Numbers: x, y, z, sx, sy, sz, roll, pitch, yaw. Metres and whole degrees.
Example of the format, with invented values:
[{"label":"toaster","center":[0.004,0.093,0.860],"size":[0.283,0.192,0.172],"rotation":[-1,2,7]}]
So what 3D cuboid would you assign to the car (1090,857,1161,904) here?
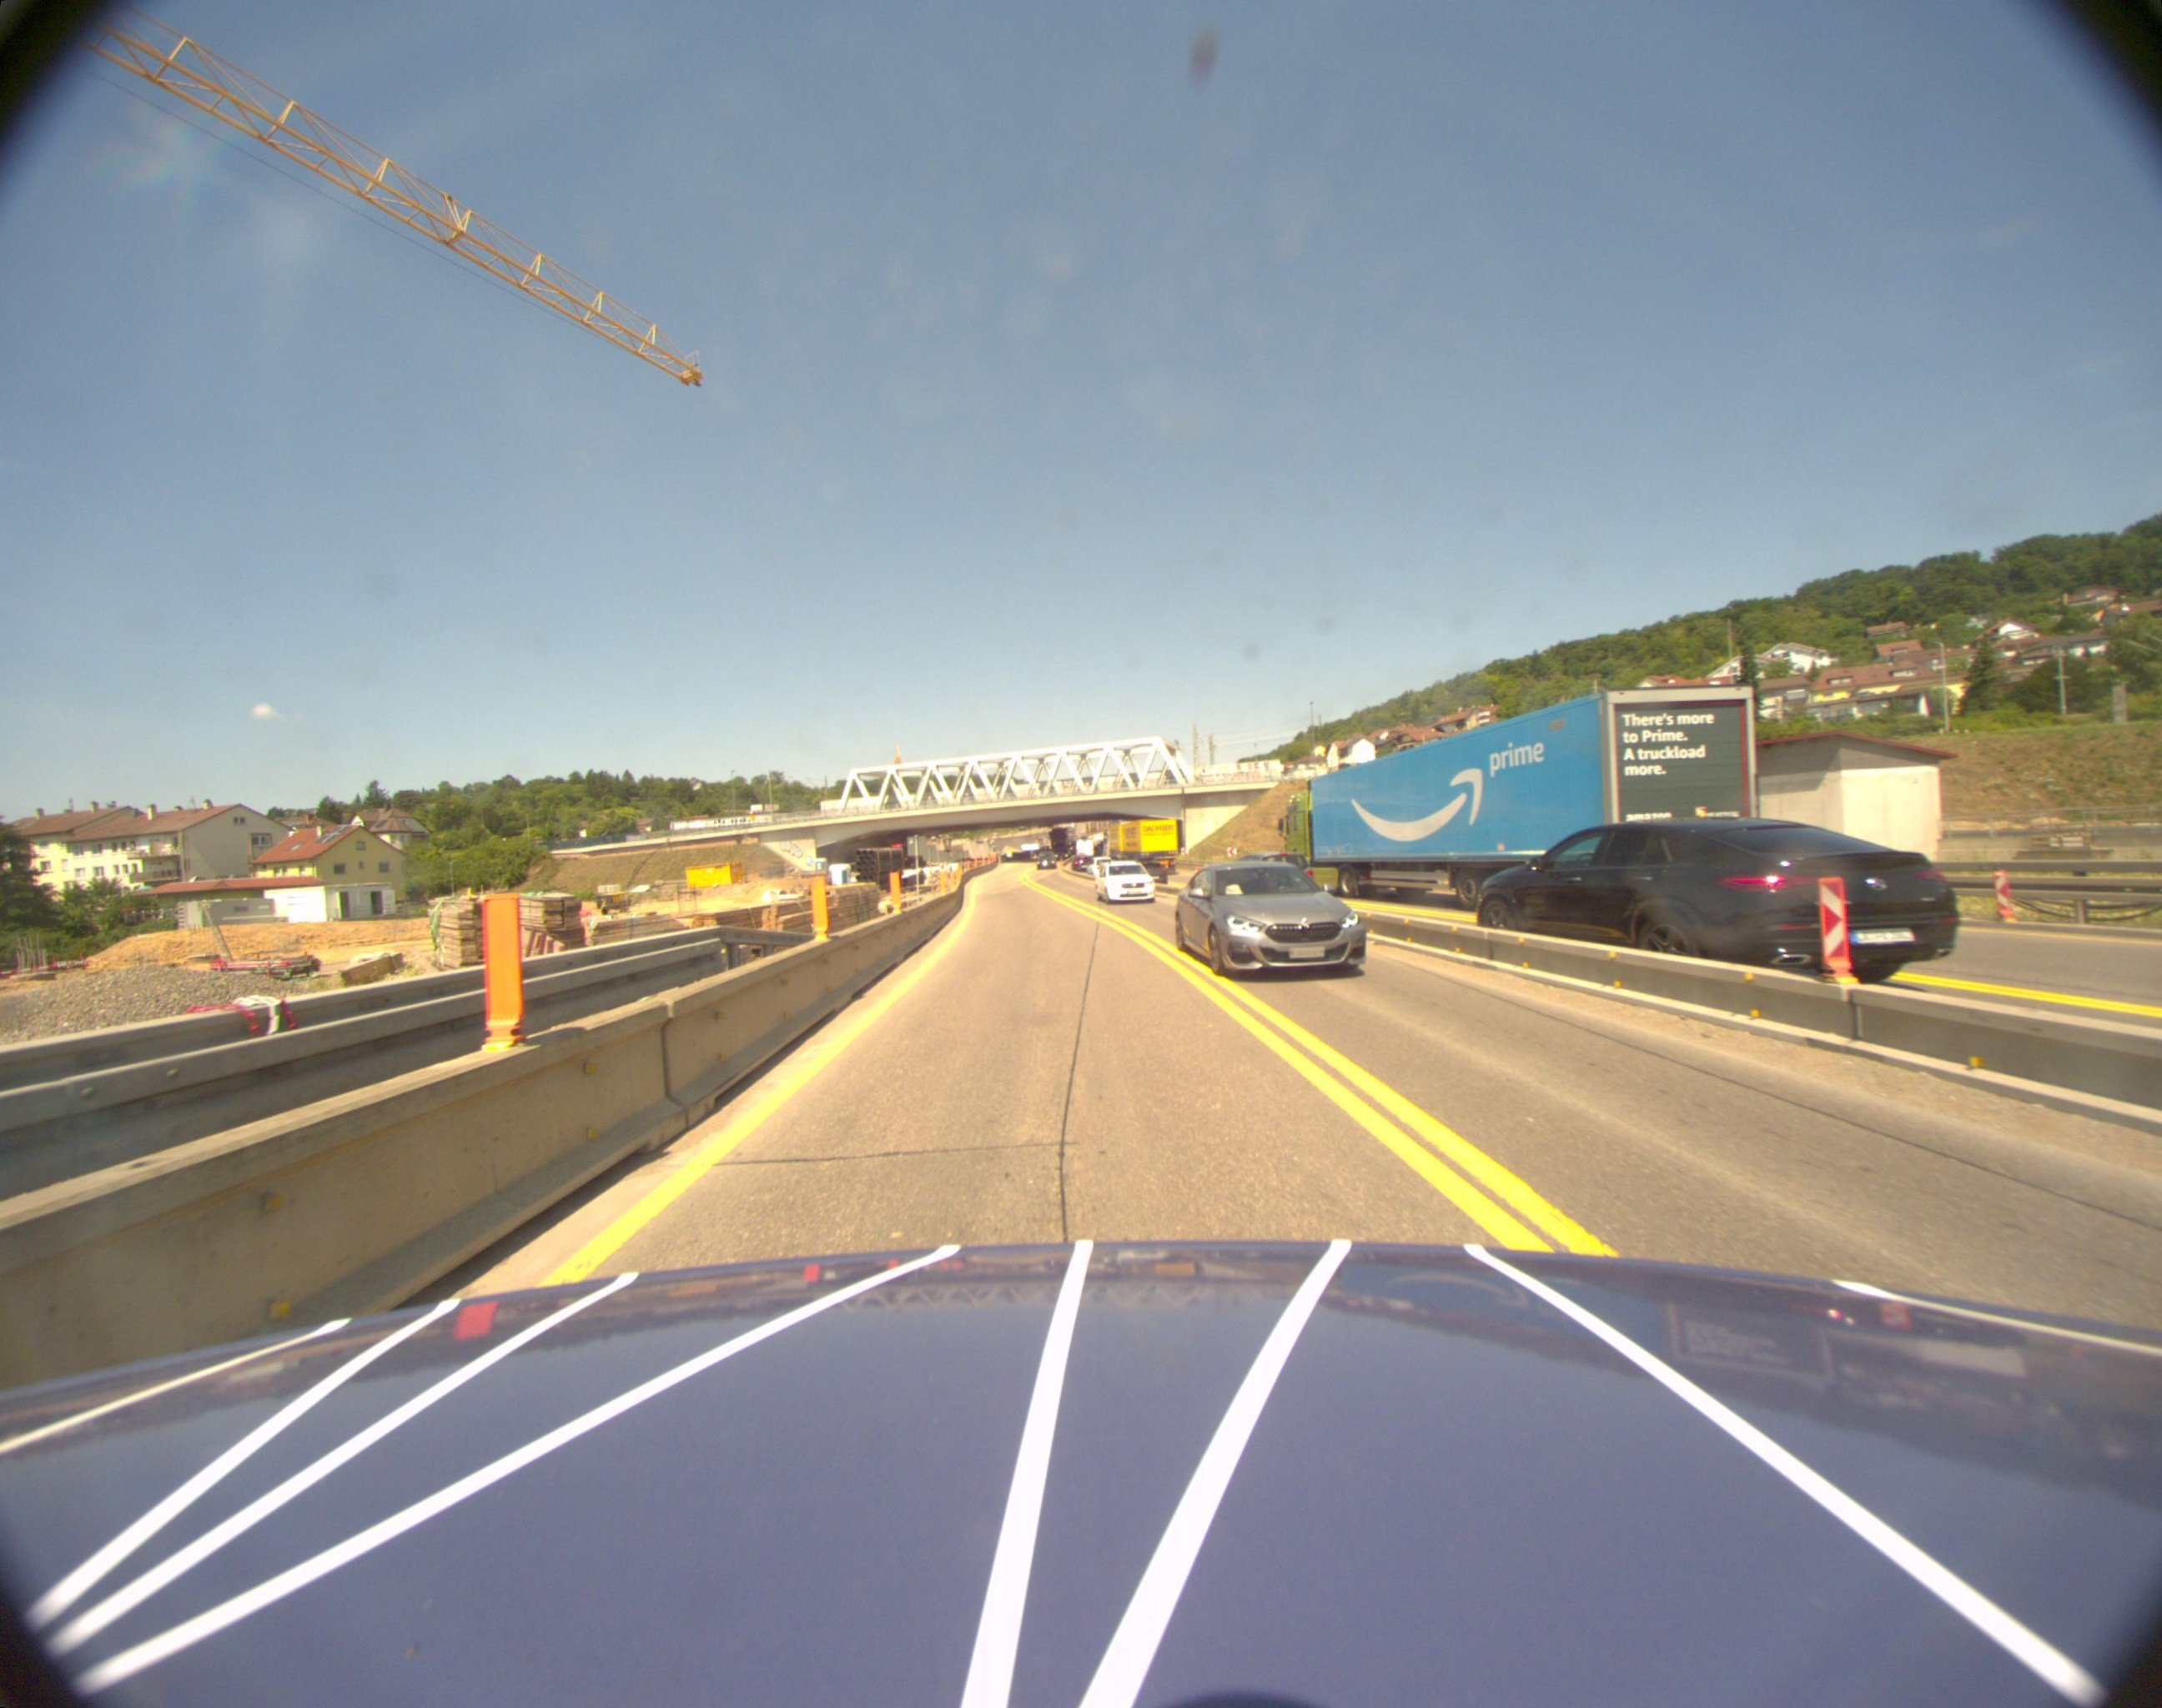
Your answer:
[{"label":"car","center":[1.558,0.918,28.263],"size":[1.839,1.465,4.386],"rotation":[-3,1,-6]}]

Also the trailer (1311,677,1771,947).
[{"label":"trailer","center":[9.648,-0.787,19.190],"size":[2.655,4.268,13.302],"rotation":[-4,1,-3]}]

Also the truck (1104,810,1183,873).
[{"label":"truck","center":[4.660,-0.943,61.336],"size":[2.815,4.317,15.362],"rotation":[-4,1,-8]}]

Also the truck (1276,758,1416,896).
[{"label":"truck","center":[9.078,-0.897,26.637],"size":[2.633,4.246,4.728],"rotation":[-5,1,-6]}]

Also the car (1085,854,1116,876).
[{"label":"car","center":[1.354,0.779,54.382],"size":[1.641,1.477,3.998],"rotation":[-2,-1,-7]}]

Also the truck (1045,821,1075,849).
[{"label":"truck","center":[-3.384,-3.262,127.285],"size":[3.462,4.026,10.207],"rotation":[-3,4,6]}]

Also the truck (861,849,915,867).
[{"label":"truck","center":[-27.070,0.562,106.682],"size":[6.533,2.062,2.666],"rotation":[-4,3,9]}]

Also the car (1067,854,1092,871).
[{"label":"car","center":[-0.188,0.708,67.503],"size":[1.681,1.354,4.500],"rotation":[-4,1,-6]}]

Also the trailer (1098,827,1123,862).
[{"label":"trailer","center":[3.494,-1.267,91.608],"size":[2.532,3.768,10.241],"rotation":[-4,2,1]}]

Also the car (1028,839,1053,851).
[{"label":"car","center":[-11.059,-2.351,205.344],"size":[6.306,2.567,2.053],"rotation":[-7,2,-8]}]

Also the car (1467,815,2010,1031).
[{"label":"car","center":[6.538,0.562,8.513],"size":[1.886,1.637,4.714],"rotation":[-4,0,-1]}]

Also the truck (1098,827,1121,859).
[{"label":"truck","center":[3.633,-1.510,97.610],"size":[2.540,3.801,4.948],"rotation":[-4,2,2]}]

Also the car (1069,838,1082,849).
[{"label":"car","center":[-0.858,-1.623,119.201],"size":[1.800,1.543,3.999],"rotation":[-3,2,2]}]

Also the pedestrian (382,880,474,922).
[{"label":"pedestrian","center":[-40.898,2.916,47.722],"size":[1.998,2.003,3.998],"rotation":[-3,4,4]}]

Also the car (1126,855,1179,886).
[{"label":"car","center":[3.748,0.849,40.598],"size":[1.826,1.427,4.581],"rotation":[-4,0,-6]}]

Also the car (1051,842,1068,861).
[{"label":"car","center":[-2.714,-0.315,97.225],"size":[1.999,2.003,3.997],"rotation":[-3,4,0]}]

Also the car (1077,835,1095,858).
[{"label":"car","center":[0.656,-0.975,92.697],"size":[2.076,2.490,6.480],"rotation":[-3,3,1]}]

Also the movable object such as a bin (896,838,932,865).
[{"label":"movable object such as a bin","center":[-24.480,-0.429,111.367],"size":[3.886,3.524,2.904],"rotation":[-4,4,16]}]

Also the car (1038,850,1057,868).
[{"label":"car","center":[-3.387,0.437,75.996],"size":[1.801,1.543,3.997],"rotation":[-4,2,-4]}]

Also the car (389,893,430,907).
[{"label":"car","center":[-87.448,6.000,98.983],"size":[4.161,1.500,1.578],"rotation":[-3,4,9]}]

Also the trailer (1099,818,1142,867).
[{"label":"trailer","center":[3.551,-1.047,69.585],"size":[2.875,4.206,5.214],"rotation":[-3,1,-7]}]

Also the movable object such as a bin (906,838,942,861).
[{"label":"movable object such as a bin","center":[-25.391,-0.719,122.860],"size":[4.562,3.270,2.990],"rotation":[-4,4,10]}]

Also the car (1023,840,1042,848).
[{"label":"car","center":[-12.568,-2.580,198.390],"size":[4.801,1.759,1.719],"rotation":[-5,3,0]}]

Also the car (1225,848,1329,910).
[{"label":"car","center":[5.748,0.681,22.865],"size":[1.825,1.575,4.300],"rotation":[-4,0,-2]}]

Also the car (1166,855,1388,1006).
[{"label":"car","center":[2.481,0.865,10.832],"size":[1.838,1.588,4.388],"rotation":[-3,0,-2]}]

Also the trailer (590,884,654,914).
[{"label":"trailer","center":[-30.110,2.914,49.948],"size":[1.627,1.478,3.825],"rotation":[-4,2,2]}]
